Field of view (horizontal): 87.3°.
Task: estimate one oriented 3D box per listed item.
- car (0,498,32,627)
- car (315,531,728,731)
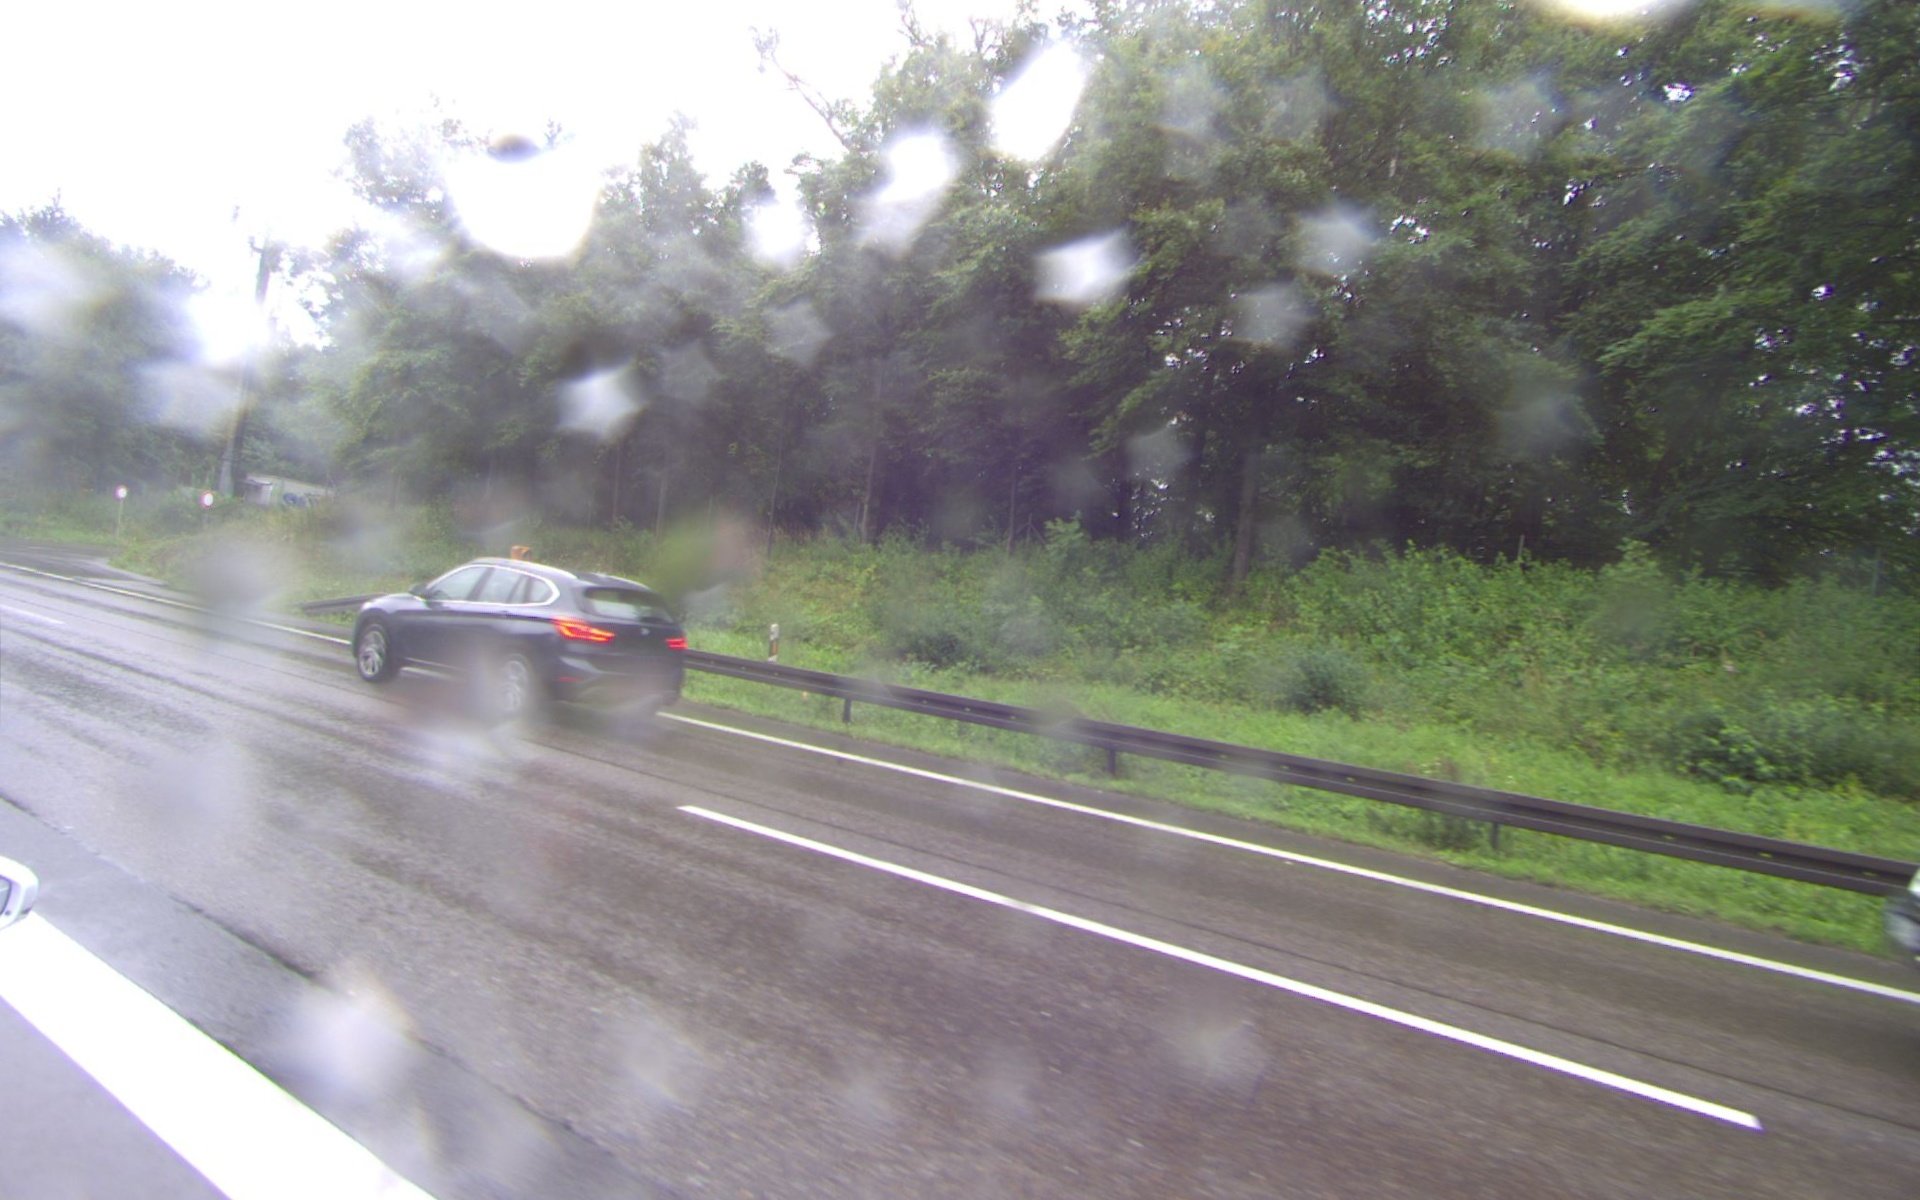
[{"bbox_3d":[-13.100,-0.724,11.943,4.409,1.442,1.893,7,-2,32],"label":"car"},{"bbox_3d":[-5.162,0.305,11.632,4.689,1.602,1.993,7,-1,33],"label":"car"}]
